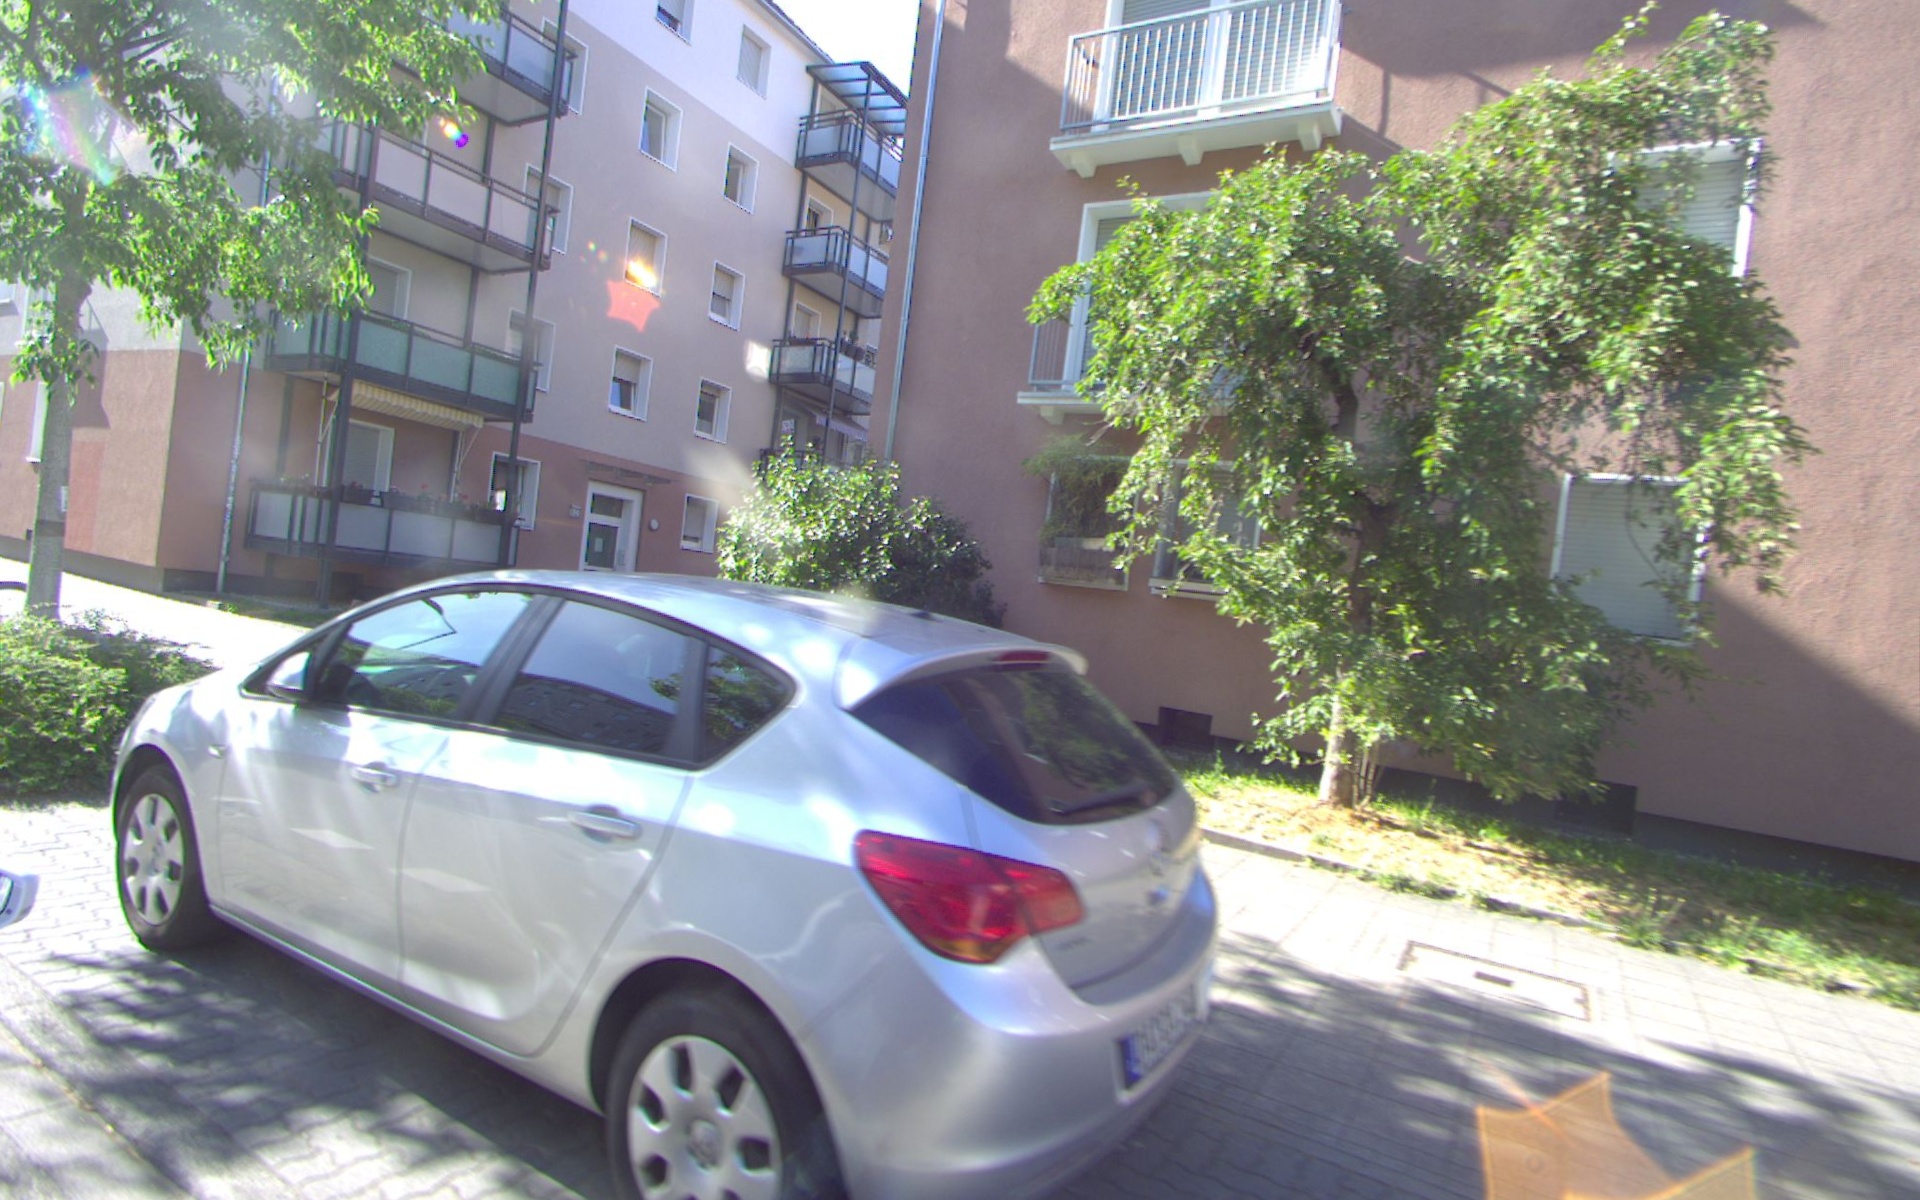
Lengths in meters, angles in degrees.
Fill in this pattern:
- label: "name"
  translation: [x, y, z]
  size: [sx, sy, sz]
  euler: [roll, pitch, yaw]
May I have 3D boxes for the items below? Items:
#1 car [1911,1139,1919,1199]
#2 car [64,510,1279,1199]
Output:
- label: "car"
  translation: [3.487, 1.155, 0.367]
  size: [4.239, 1.500, 1.659]
  euler: [7, 0, 31]
- label: "car"
  translation: [-1.181, 0.640, 3.459]
  size: [3.933, 1.472, 1.717]
  euler: [7, 1, 31]
